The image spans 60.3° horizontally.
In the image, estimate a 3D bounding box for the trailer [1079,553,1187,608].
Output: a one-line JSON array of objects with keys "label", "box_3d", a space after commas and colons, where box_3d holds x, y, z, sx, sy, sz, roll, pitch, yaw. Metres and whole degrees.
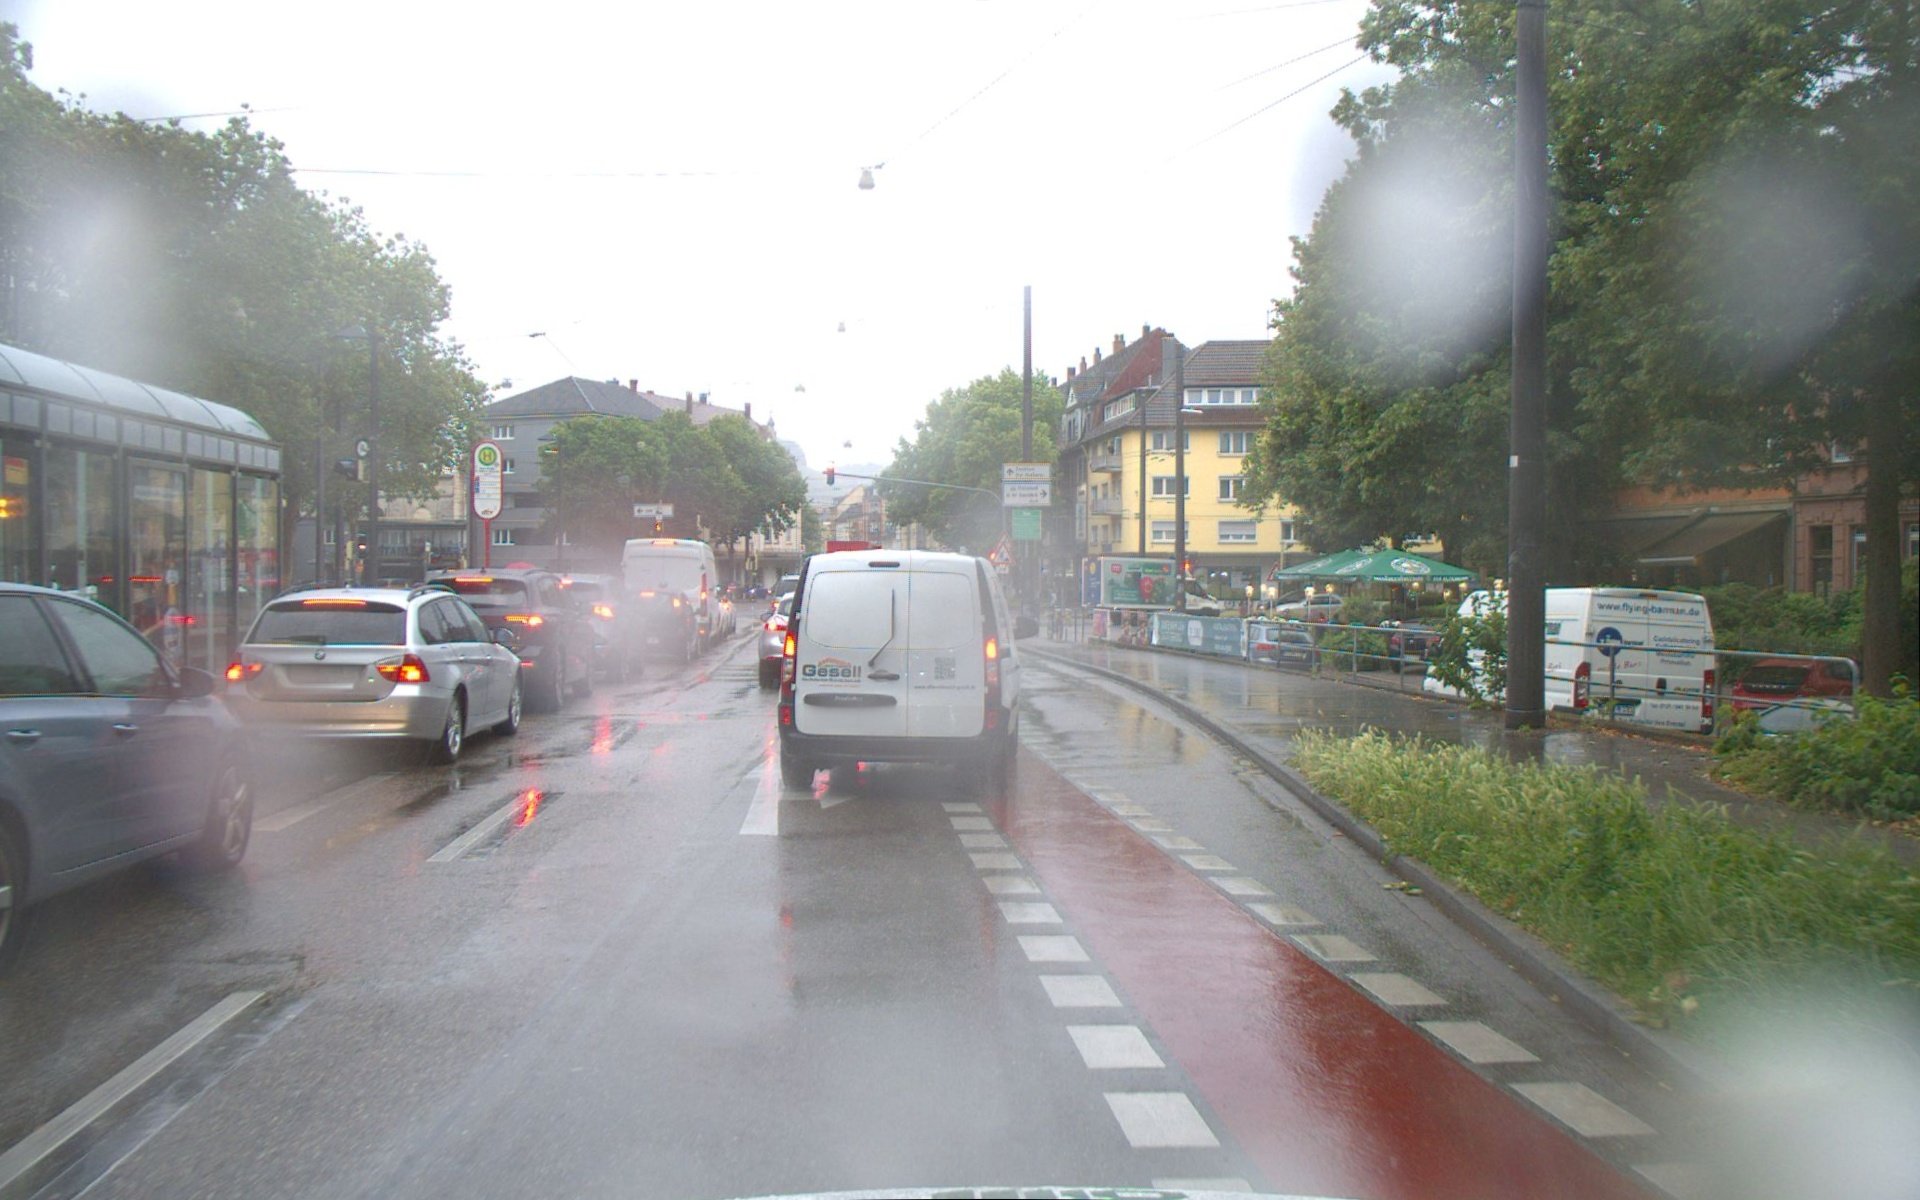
[{"label": "trailer", "box_3d": [7.971, -0.874, 76.084, 4.592, 2.357, 1.985, 1, -1, -24]}]

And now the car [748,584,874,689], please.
[{"label": "car", "box_3d": [-2.259, 0.543, 25.837, 1.725, 1.494, 3.531, 1, -1, -2]}]

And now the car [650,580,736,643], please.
[{"label": "car", "box_3d": [-7.378, 0.308, 46.097, 1.954, 1.624, 4.607, 2, 0, -5]}]

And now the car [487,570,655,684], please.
[{"label": "car", "box_3d": [-6.119, 0.403, 26.514, 1.954, 1.606, 4.288, 2, 0, -5]}]

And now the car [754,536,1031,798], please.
[{"label": "car", "box_3d": [-0.402, 0.490, 13.368, 1.918, 1.808, 3.570, 1, -1, 2]}]

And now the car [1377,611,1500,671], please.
[{"label": "car", "box_3d": [13.630, 1.131, 46.995, 1.856, 1.504, 3.978, 0, 1, 41]}]

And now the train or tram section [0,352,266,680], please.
[{"label": "train or tram section", "box_3d": [-11.554, -0.903, 20.332, 2.921, 3.343, 8.974, -1, 1, -5]}]

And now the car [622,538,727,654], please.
[{"label": "car", "box_3d": [-6.614, -0.092, 38.758, 1.954, 2.485, 4.607, 2, 0, -5]}]

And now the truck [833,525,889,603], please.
[{"label": "truck", "box_3d": [-6.567, -2.400, 110.863, 3.211, 4.985, 7.182, -1, 1, 0]}]

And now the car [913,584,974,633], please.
[{"label": "car", "box_3d": [-0.535, 0.266, 55.072, 1.953, 1.569, 4.000, 0, 0, -1]}]

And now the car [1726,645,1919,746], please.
[{"label": "car", "box_3d": [15.148, 1.622, 28.948, 3.634, 1.462, 1.687, -2, 1, -38]}]

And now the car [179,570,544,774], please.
[{"label": "car", "box_3d": [-5.099, 0.519, 14.762, 1.954, 1.498, 4.262, 2, 1, -5]}]

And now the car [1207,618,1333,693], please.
[{"label": "car", "box_3d": [7.305, 1.261, 39.354, 1.787, 1.516, 4.348, -1, 1, -6]}]

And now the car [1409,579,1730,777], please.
[{"label": "car", "box_3d": [8.987, 1.007, 25.096, 2.138, 2.576, 5.769, -1, 1, -7]}]

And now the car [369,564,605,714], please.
[{"label": "car", "box_3d": [-5.710, 0.437, 20.511, 1.954, 1.606, 4.288, 2, 0, -5]}]

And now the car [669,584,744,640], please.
[{"label": "car", "box_3d": [-7.950, 0.378, 52.192, 1.954, 1.624, 4.607, 2, 0, -5]}]

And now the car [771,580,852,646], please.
[{"label": "car", "box_3d": [-3.587, 0.317, 40.472, 1.725, 1.494, 3.531, 1, -1, -2]}]

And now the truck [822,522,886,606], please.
[{"label": "truck", "box_3d": [-6.645, -2.296, 105.475, 3.210, 4.985, 11.403, -1, 1, 1]}]

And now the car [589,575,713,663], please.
[{"label": "car", "box_3d": [-6.132, 0.362, 33.263, 1.954, 1.606, 4.288, 2, 0, -5]}]

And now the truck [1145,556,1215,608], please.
[{"label": "truck", "box_3d": [10.262, -0.822, 77.095, 2.606, 2.339, 1.985, 1, -1, -24]}]

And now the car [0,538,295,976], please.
[{"label": "car", "box_3d": [-4.509, 0.554, 7.023, 1.954, 1.564, 4.129, -1, 1, -5]}]
